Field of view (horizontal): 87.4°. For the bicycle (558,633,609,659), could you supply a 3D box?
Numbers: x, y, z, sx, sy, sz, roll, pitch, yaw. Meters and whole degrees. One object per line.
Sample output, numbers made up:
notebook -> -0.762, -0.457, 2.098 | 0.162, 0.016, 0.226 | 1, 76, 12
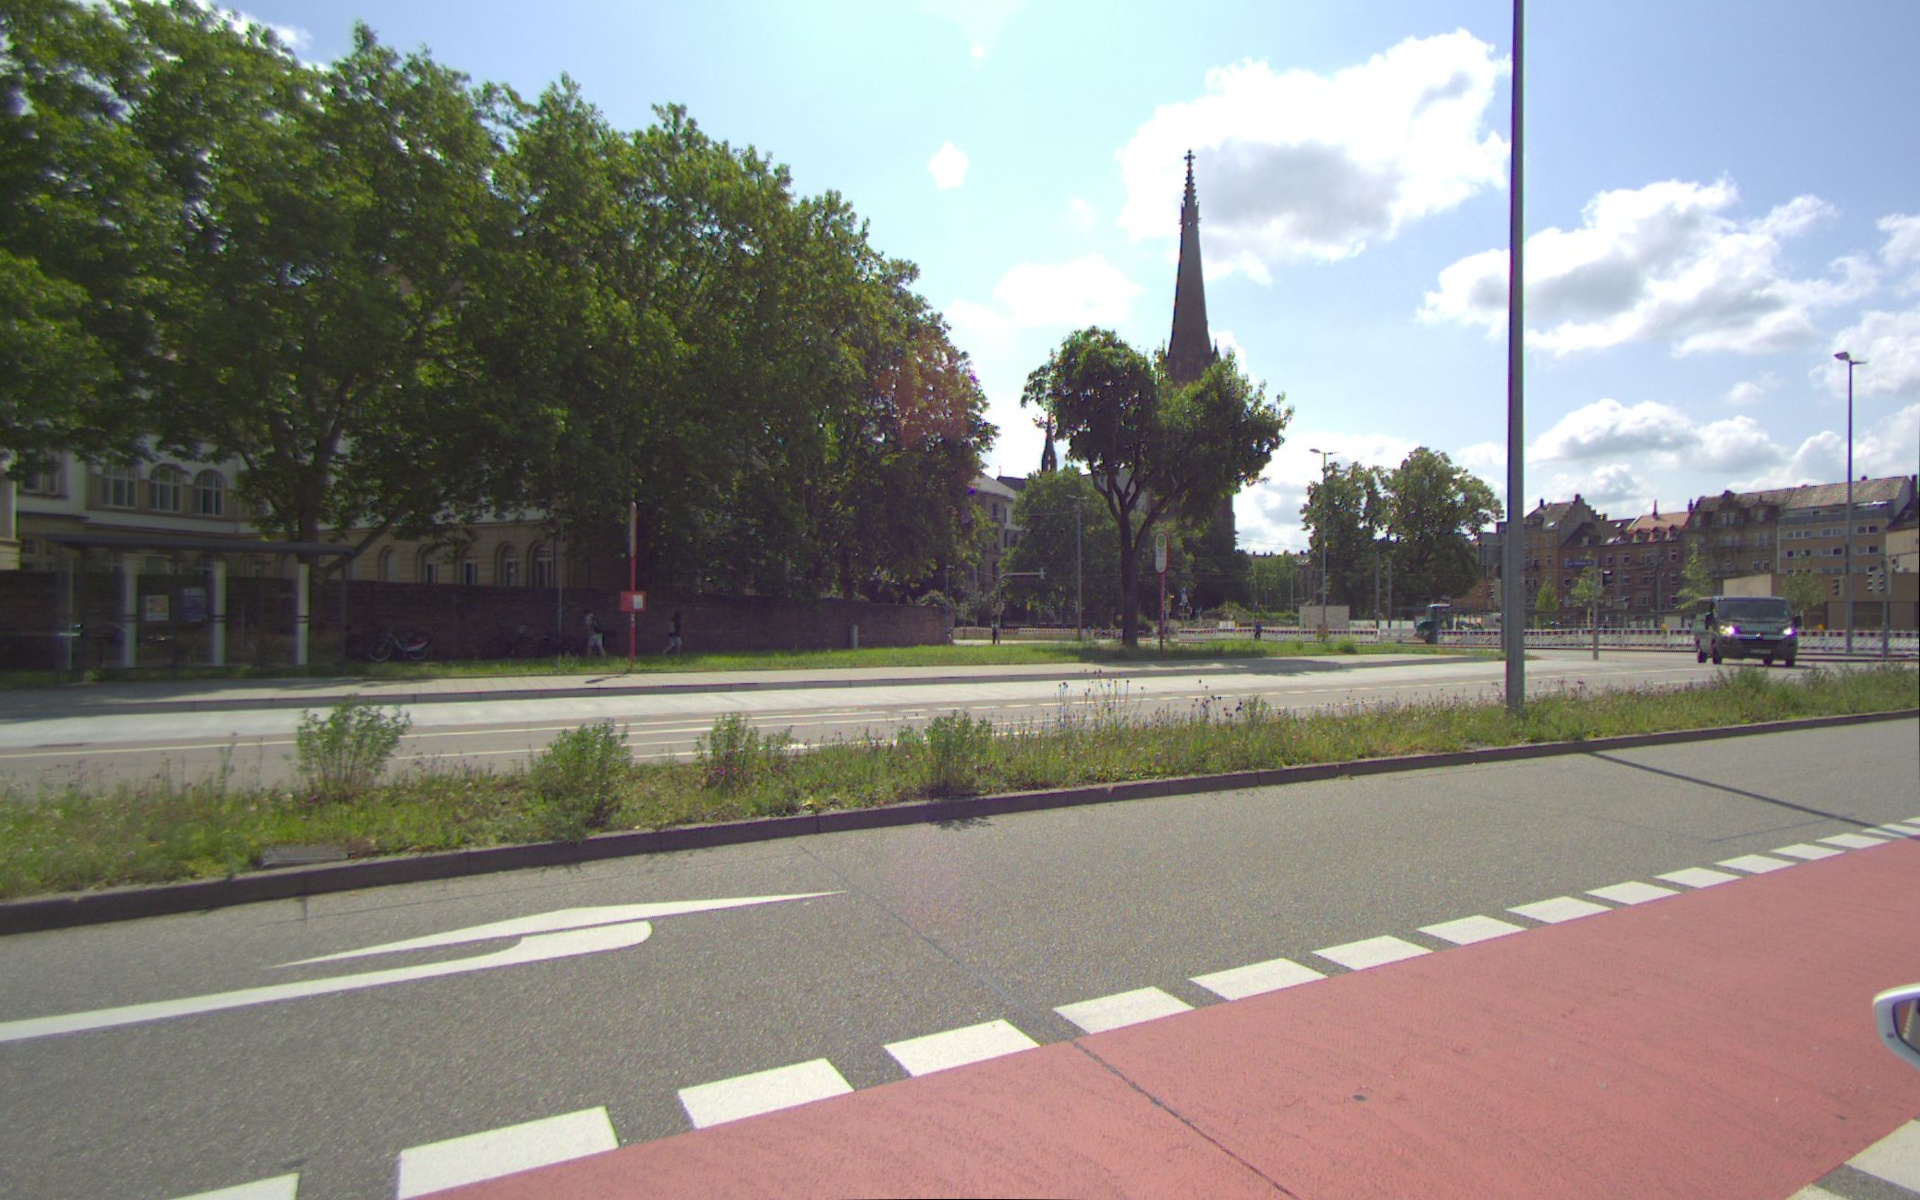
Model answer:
bicycle -> -12.777, 1.547, 34.154 | 0.324, 0.828, 1.743 | 0, -1, 36

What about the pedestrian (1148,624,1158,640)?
pedestrian -> 21.069, 3.485, 109.484 | 0.842, 1.685, 0.751 | 0, -1, 29

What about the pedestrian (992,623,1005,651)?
pedestrian -> 2.851, 2.763, 74.664 | 0.713, 2.040, 0.721 | 1, -1, -32

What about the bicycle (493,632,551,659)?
bicycle -> -14.019, 1.458, 32.195 | 0.378, 0.828, 1.743 | 0, -1, 36

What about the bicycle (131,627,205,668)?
bicycle -> -19.416, 1.153, 24.646 | 0.260, 0.977, 1.391 | 0, -1, 36

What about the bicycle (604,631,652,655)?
bicycle -> -11.772, 1.527, 35.680 | 0.324, 0.828, 1.743 | 0, -1, 36

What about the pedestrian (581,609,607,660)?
pedestrian -> -10.832, 1.022, 29.719 | 0.627, 1.492, 0.506 | 1, -1, -32

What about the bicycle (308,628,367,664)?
bicycle -> -17.158, 1.261, 27.716 | 0.260, 0.977, 1.391 | 0, -1, 36

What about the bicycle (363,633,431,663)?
bicycle -> -16.238, 1.376, 29.013 | 0.324, 0.828, 1.743 | 0, -1, 36

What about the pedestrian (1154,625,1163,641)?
pedestrian -> 21.755, 3.607, 110.181 | 0.842, 1.685, 0.751 | 0, -1, 29

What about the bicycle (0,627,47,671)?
bicycle -> -21.256, 1.086, 22.325 | 0.260, 0.977, 1.391 | 0, -1, 36

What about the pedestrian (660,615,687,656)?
pedestrian -> -10.030, 1.249, 35.167 | 0.720, 1.413, 0.714 | 1, -1, -35

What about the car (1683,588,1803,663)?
car -> 25.110, 0.876, 32.424 | 2.116, 2.204, 5.012 | -2, -3, 28

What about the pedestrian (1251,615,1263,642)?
pedestrian -> 22.342, 2.131, 75.540 | 0.625, 2.040, 0.643 | 1, -1, -32

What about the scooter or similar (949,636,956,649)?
scooter or similar -> -0.430, 2.474, 58.979 | 0.117, 0.721, 1.005 | 0, -1, 17
